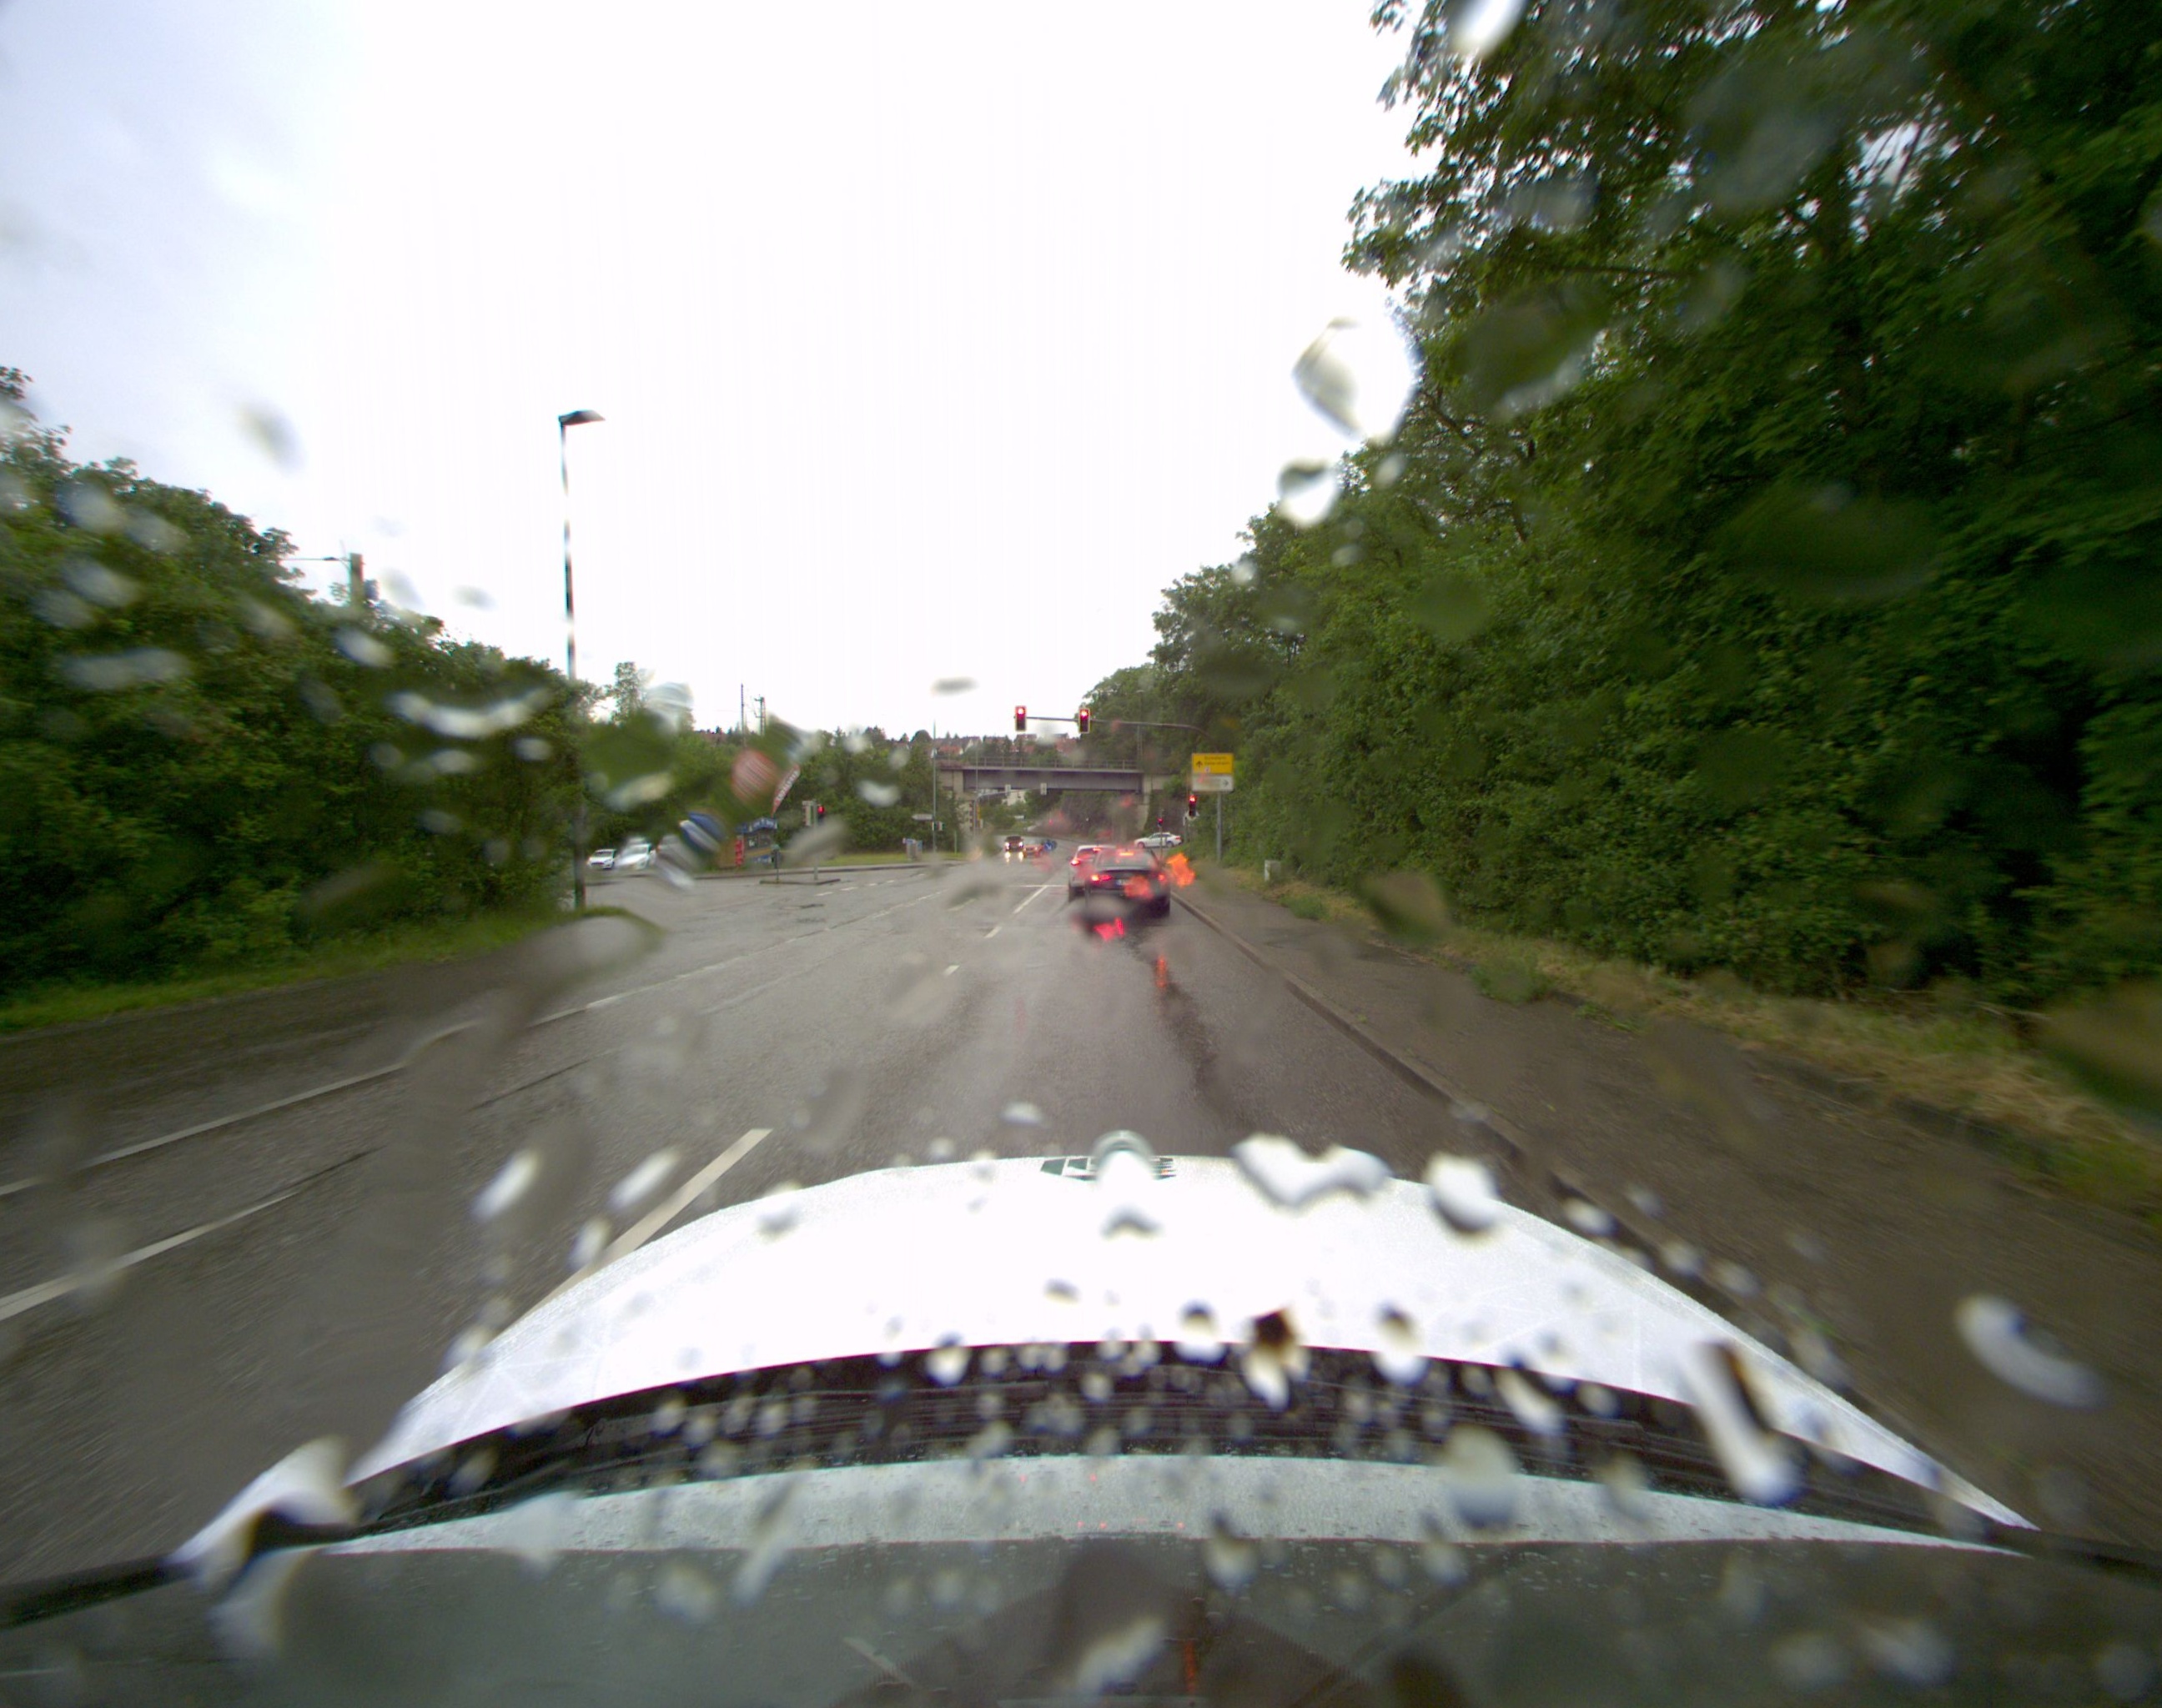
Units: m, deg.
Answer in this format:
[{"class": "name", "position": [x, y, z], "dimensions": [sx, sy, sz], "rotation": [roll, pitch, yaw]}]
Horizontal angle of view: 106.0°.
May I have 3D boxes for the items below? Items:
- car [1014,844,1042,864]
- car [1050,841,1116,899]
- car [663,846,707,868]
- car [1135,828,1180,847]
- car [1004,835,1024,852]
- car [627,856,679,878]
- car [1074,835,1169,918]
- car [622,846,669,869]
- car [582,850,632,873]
[{"class": "car", "position": [-4.393, 0.036, 67.834], "dimensions": [1.986, 1.585, 4.001], "rotation": [-1, 0, 1]}, {"class": "car", "position": [0.119, 0.444, 24.766], "dimensions": [1.816, 1.585, 4.001], "rotation": [-1, 0, 1]}, {"class": "car", "position": [-30.359, 0.212, 62.507], "dimensions": [1.995, 1.585, 3.985], "rotation": [-2, 1, -11]}, {"class": "car", "position": [7.809, -1.662, 82.983], "dimensions": [4.438, 1.742, 1.815], "rotation": [-1, 0, 10]}, {"class": "car", "position": [-7.077, -1.100, 86.201], "dimensions": [1.991, 1.628, 3.993], "rotation": [-2, 1, -5]}, {"class": "car", "position": [-27.636, 0.799, 52.765], "dimensions": [1.652, 1.340, 4.883], "rotation": [-1, 0, -11]}, {"class": "car", "position": [0.843, 0.401, 18.031], "dimensions": [1.863, 1.616, 4.002], "rotation": [0, 1, 1]}, {"class": "car", "position": [-32.589, 0.244, 61.094], "dimensions": [1.995, 1.585, 3.985], "rotation": [-2, 1, -11]}, {"class": "car", "position": [-35.015, 0.526, 60.271], "dimensions": [1.995, 1.585, 3.984], "rotation": [-1, 0, -11]}]
